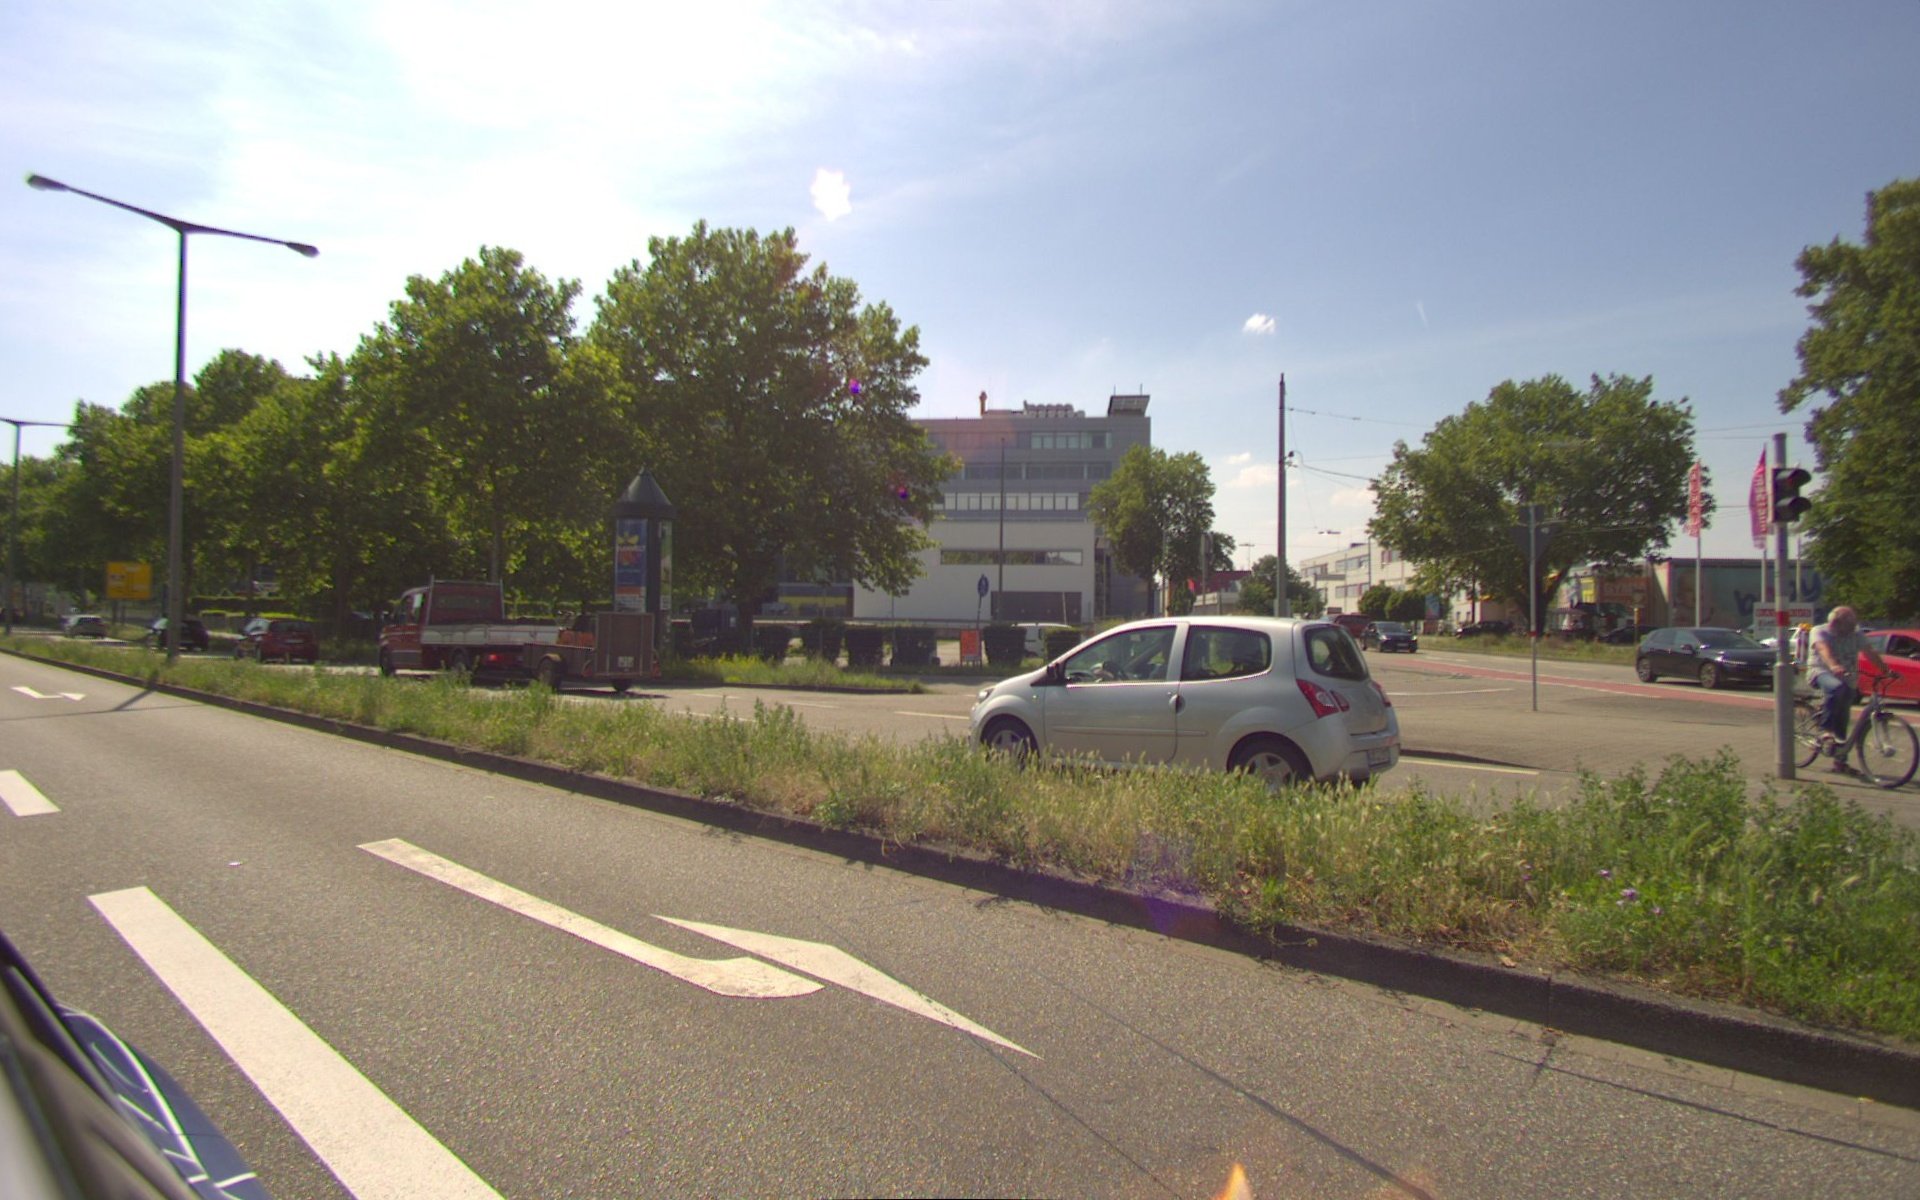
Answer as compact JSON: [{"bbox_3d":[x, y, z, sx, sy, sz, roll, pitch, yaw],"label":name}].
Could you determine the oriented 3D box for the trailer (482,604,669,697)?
[{"bbox_3d":[-8.046,0.987,21.030,3.989,1.729,2.040,-1,-2,42],"label":"trailer"}]

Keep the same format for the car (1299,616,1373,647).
[{"bbox_3d":[27.820,2.326,74.848,4.953,2.295,2.159,1,-2,-21],"label":"car"}]

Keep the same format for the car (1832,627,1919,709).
[{"bbox_3d":[18.013,1.219,17.940,1.824,1.460,3.993,0,-2,5],"label":"car"}]

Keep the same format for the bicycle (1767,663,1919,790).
[{"bbox_3d":[9.071,1.210,10.198,0.520,1.072,2.157,0,-1,11],"label":"bicycle"}]

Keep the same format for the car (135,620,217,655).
[{"bbox_3d":[-35.247,1.673,45.487,3.886,1.433,1.823,0,-2,36],"label":"car"}]

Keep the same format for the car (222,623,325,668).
[{"bbox_3d":[-23.075,1.530,33.968,3.762,1.445,1.830,-2,-4,39],"label":"car"}]

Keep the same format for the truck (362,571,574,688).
[{"bbox_3d":[-12.211,0.696,24.773,7.126,2.494,2.117,-1,-2,42],"label":"truck"}]

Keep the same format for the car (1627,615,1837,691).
[{"bbox_3d":[18.739,1.244,24.838,1.971,1.712,4.001,0,-2,-2],"label":"car"}]

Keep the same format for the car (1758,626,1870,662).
[{"bbox_3d":[35.818,1.811,42.585,1.679,1.438,3.853,0,-1,6],"label":"car"}]

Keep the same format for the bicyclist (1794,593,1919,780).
[{"bbox_3d":[9.078,0.846,10.222,0.698,1.802,0.765,0,-2,12],"label":"bicyclist"}]

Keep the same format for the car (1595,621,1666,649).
[{"bbox_3d":[49.455,2.582,74.732,3.973,2.029,1.985,0,-2,22],"label":"car"}]

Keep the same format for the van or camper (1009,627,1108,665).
[{"bbox_3d":[4.510,2.115,46.746,4.453,1.705,1.998,0,-1,4],"label":"van or camper"}]

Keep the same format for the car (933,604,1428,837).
[{"bbox_3d":[1.710,0.834,8.482,3.732,1.525,1.633,-1,-2,40],"label":"car"}]

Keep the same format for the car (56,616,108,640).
[{"bbox_3d":[-56.025,1.772,64.550,4.219,1.433,1.820,-1,-4,41],"label":"car"}]

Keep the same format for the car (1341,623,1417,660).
[{"bbox_3d":[20.280,1.990,49.172,1.972,1.712,4.000,0,-2,-1],"label":"car"}]
